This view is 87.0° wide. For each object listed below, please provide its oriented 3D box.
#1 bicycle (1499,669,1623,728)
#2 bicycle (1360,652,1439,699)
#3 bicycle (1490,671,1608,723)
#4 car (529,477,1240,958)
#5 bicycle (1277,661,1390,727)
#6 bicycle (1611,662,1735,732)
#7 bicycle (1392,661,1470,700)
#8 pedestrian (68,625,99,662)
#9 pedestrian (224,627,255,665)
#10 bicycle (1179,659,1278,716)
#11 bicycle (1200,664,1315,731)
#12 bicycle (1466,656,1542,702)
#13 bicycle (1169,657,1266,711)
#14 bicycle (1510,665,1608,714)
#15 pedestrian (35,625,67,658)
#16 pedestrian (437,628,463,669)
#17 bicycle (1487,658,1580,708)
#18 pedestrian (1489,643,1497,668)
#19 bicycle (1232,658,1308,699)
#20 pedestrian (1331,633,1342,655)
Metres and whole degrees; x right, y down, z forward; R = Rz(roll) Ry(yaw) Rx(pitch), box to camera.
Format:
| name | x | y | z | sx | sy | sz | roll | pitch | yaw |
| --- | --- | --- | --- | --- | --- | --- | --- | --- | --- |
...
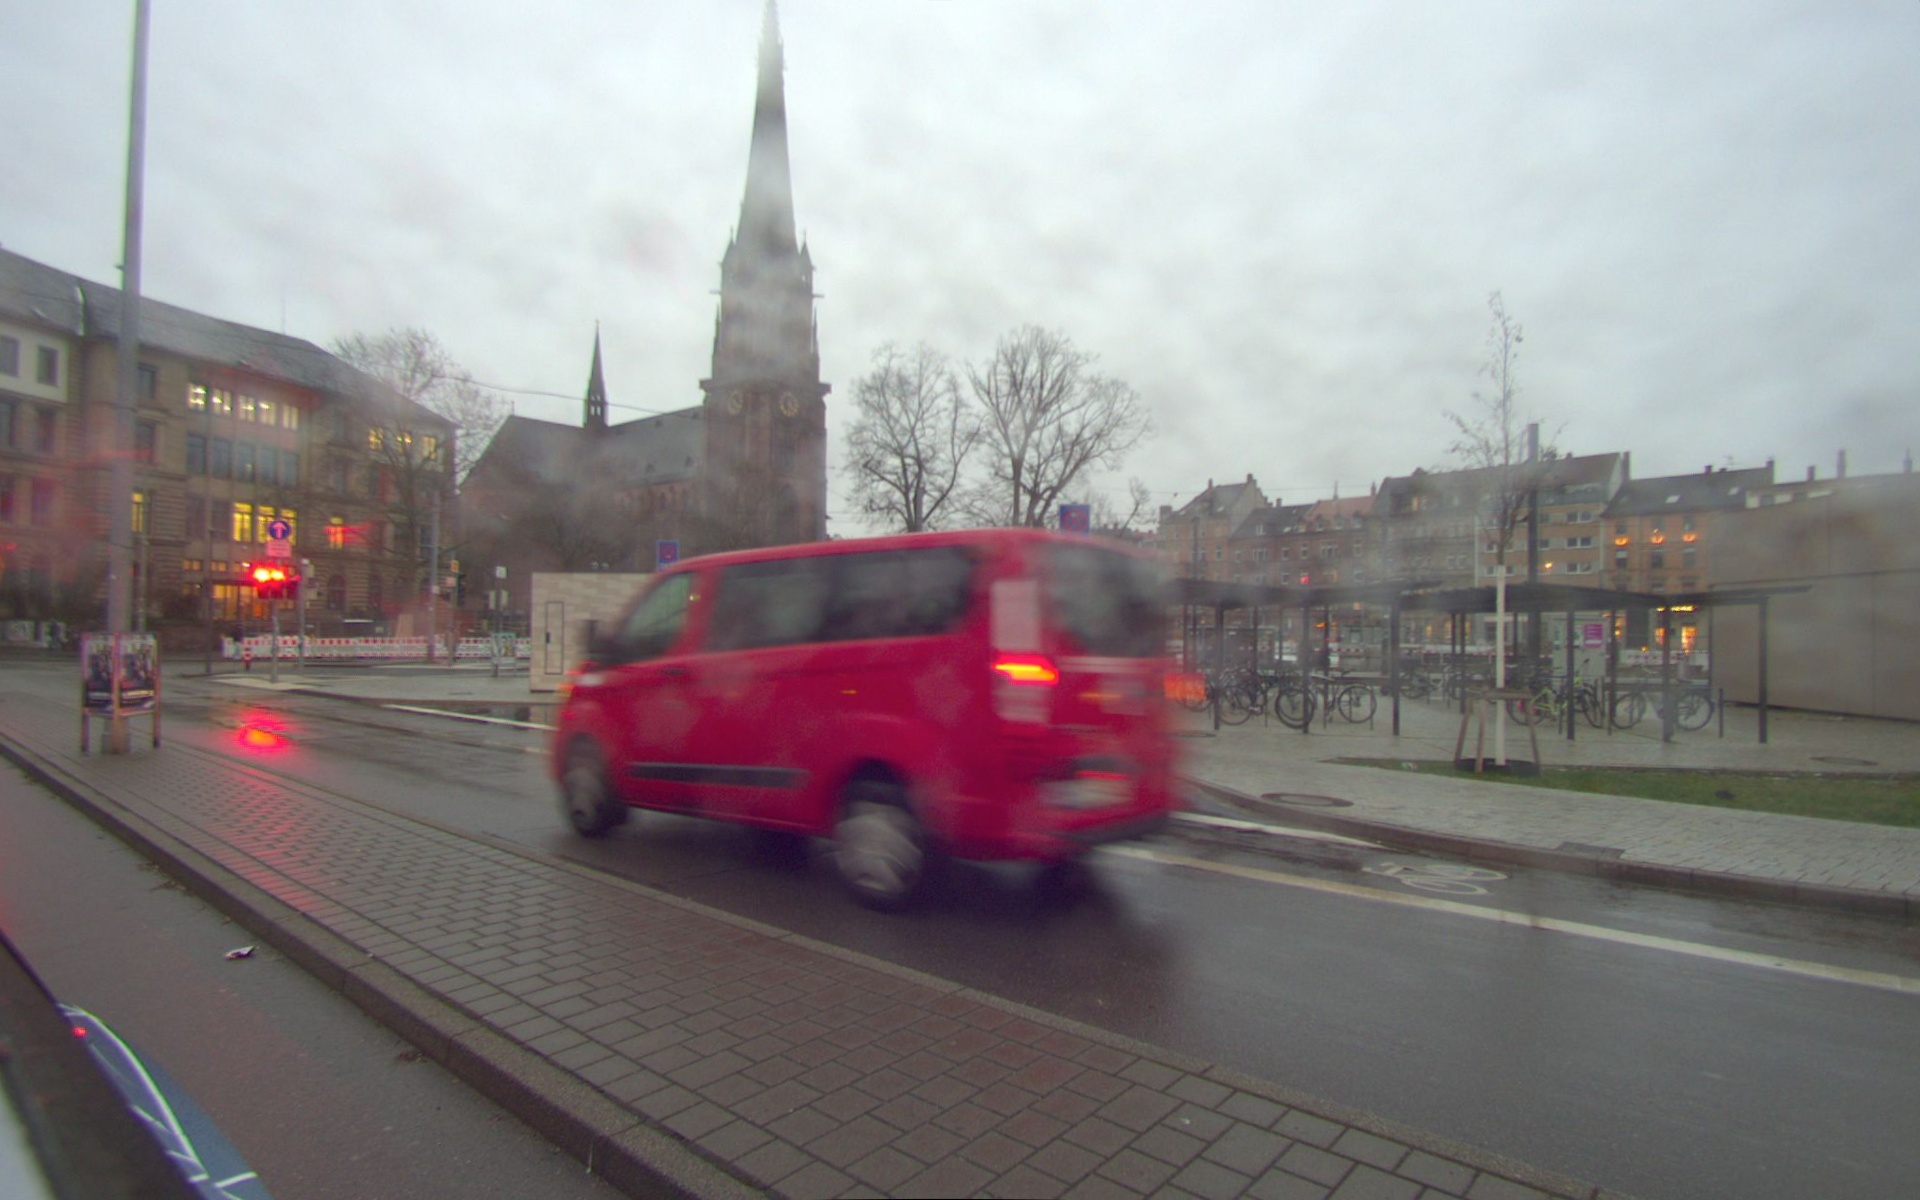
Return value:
| name | x | y | z | sx | sy | sz | roll | pitch | yaw |
| --- | --- | --- | --- | --- | --- | --- | --- | --- | --- |
| bicycle | 11.126 | 1.813 | 18.779 | 1.905 | 0.983 | 0.473 | 1 | -1 | 11 |
| bicycle | 11.185 | 1.923 | 25.797 | 1.780 | 1.116 | 0.473 | 1 | -1 | 11 |
| bicycle | 11.368 | 1.861 | 19.566 | 1.905 | 0.898 | 0.473 | 1 | -1 | 11 |
| car | -0.748 | 0.589 | 6.644 | 4.640 | 2.086 | 1.904 | -1 | -4 | 40 |
| bicycle | 6.946 | 1.733 | 18.861 | 1.905 | 1.129 | 0.473 | 1 | -1 | 11 |
| bicycle | 12.690 | 1.723 | 18.040 | 1.731 | 1.165 | 0.617 | 1 | -1 | 1 |
| bicycle | 11.622 | 1.990 | 24.986 | 1.672 | 0.898 | 0.474 | 1 | -1 | 5 |
| pedestrian | -43.895 | 2.178 | 50.681 | 0.885 | 1.830 | 0.674 | 1 | -2 | 1 |
| pedestrian | -36.254 | 2.309 | 50.927 | 0.960 | 1.915 | 0.674 | 1 | -2 | -1 |
| bicycle | 5.445 | 1.773 | 20.612 | 1.905 | 1.078 | 0.473 | 1 | -1 | 11 |
| bicycle | 5.257 | 1.718 | 17.951 | 1.905 | 1.078 | 0.473 | 1 | -1 | 11 |
| bicycle | 13.233 | 1.915 | 24.659 | 1.551 | 1.044 | 0.521 | 1 | -1 | 1 |
| bicycle | 5.431 | 1.771 | 21.396 | 1.899 | 1.078 | 0.474 | 1 | -1 | 2 |
| bicycle | 12.901 | 1.918 | 21.825 | 1.751 | 0.963 | 0.473 | 1 | -1 | 11 |
| pedestrian | -48.617 | 2.202 | 54.140 | 0.916 | 1.737 | 0.826 | 0 | -3 | 4 |
| pedestrian | -21.709 | 2.037 | 43.125 | 0.760 | 1.673 | 1.212 | -1 | 0 | -16 |
| bicycle | 13.253 | 1.907 | 23.412 | 1.810 | 1.081 | 0.474 | 1 | -1 | 8 |
| pedestrian | 43.987 | 4.572 | 83.532 | 0.436 | 2.029 | 0.414 | 3 | -4 | -41 |
| bicycle | 7.663 | 1.940 | 25.065 | 1.729 | 0.946 | 0.474 | 1 | -1 | 7 |
| pedestrian | 34.827 | 4.035 | 93.595 | 0.579 | 2.029 | 0.707 | 3 | -4 | -40 |
